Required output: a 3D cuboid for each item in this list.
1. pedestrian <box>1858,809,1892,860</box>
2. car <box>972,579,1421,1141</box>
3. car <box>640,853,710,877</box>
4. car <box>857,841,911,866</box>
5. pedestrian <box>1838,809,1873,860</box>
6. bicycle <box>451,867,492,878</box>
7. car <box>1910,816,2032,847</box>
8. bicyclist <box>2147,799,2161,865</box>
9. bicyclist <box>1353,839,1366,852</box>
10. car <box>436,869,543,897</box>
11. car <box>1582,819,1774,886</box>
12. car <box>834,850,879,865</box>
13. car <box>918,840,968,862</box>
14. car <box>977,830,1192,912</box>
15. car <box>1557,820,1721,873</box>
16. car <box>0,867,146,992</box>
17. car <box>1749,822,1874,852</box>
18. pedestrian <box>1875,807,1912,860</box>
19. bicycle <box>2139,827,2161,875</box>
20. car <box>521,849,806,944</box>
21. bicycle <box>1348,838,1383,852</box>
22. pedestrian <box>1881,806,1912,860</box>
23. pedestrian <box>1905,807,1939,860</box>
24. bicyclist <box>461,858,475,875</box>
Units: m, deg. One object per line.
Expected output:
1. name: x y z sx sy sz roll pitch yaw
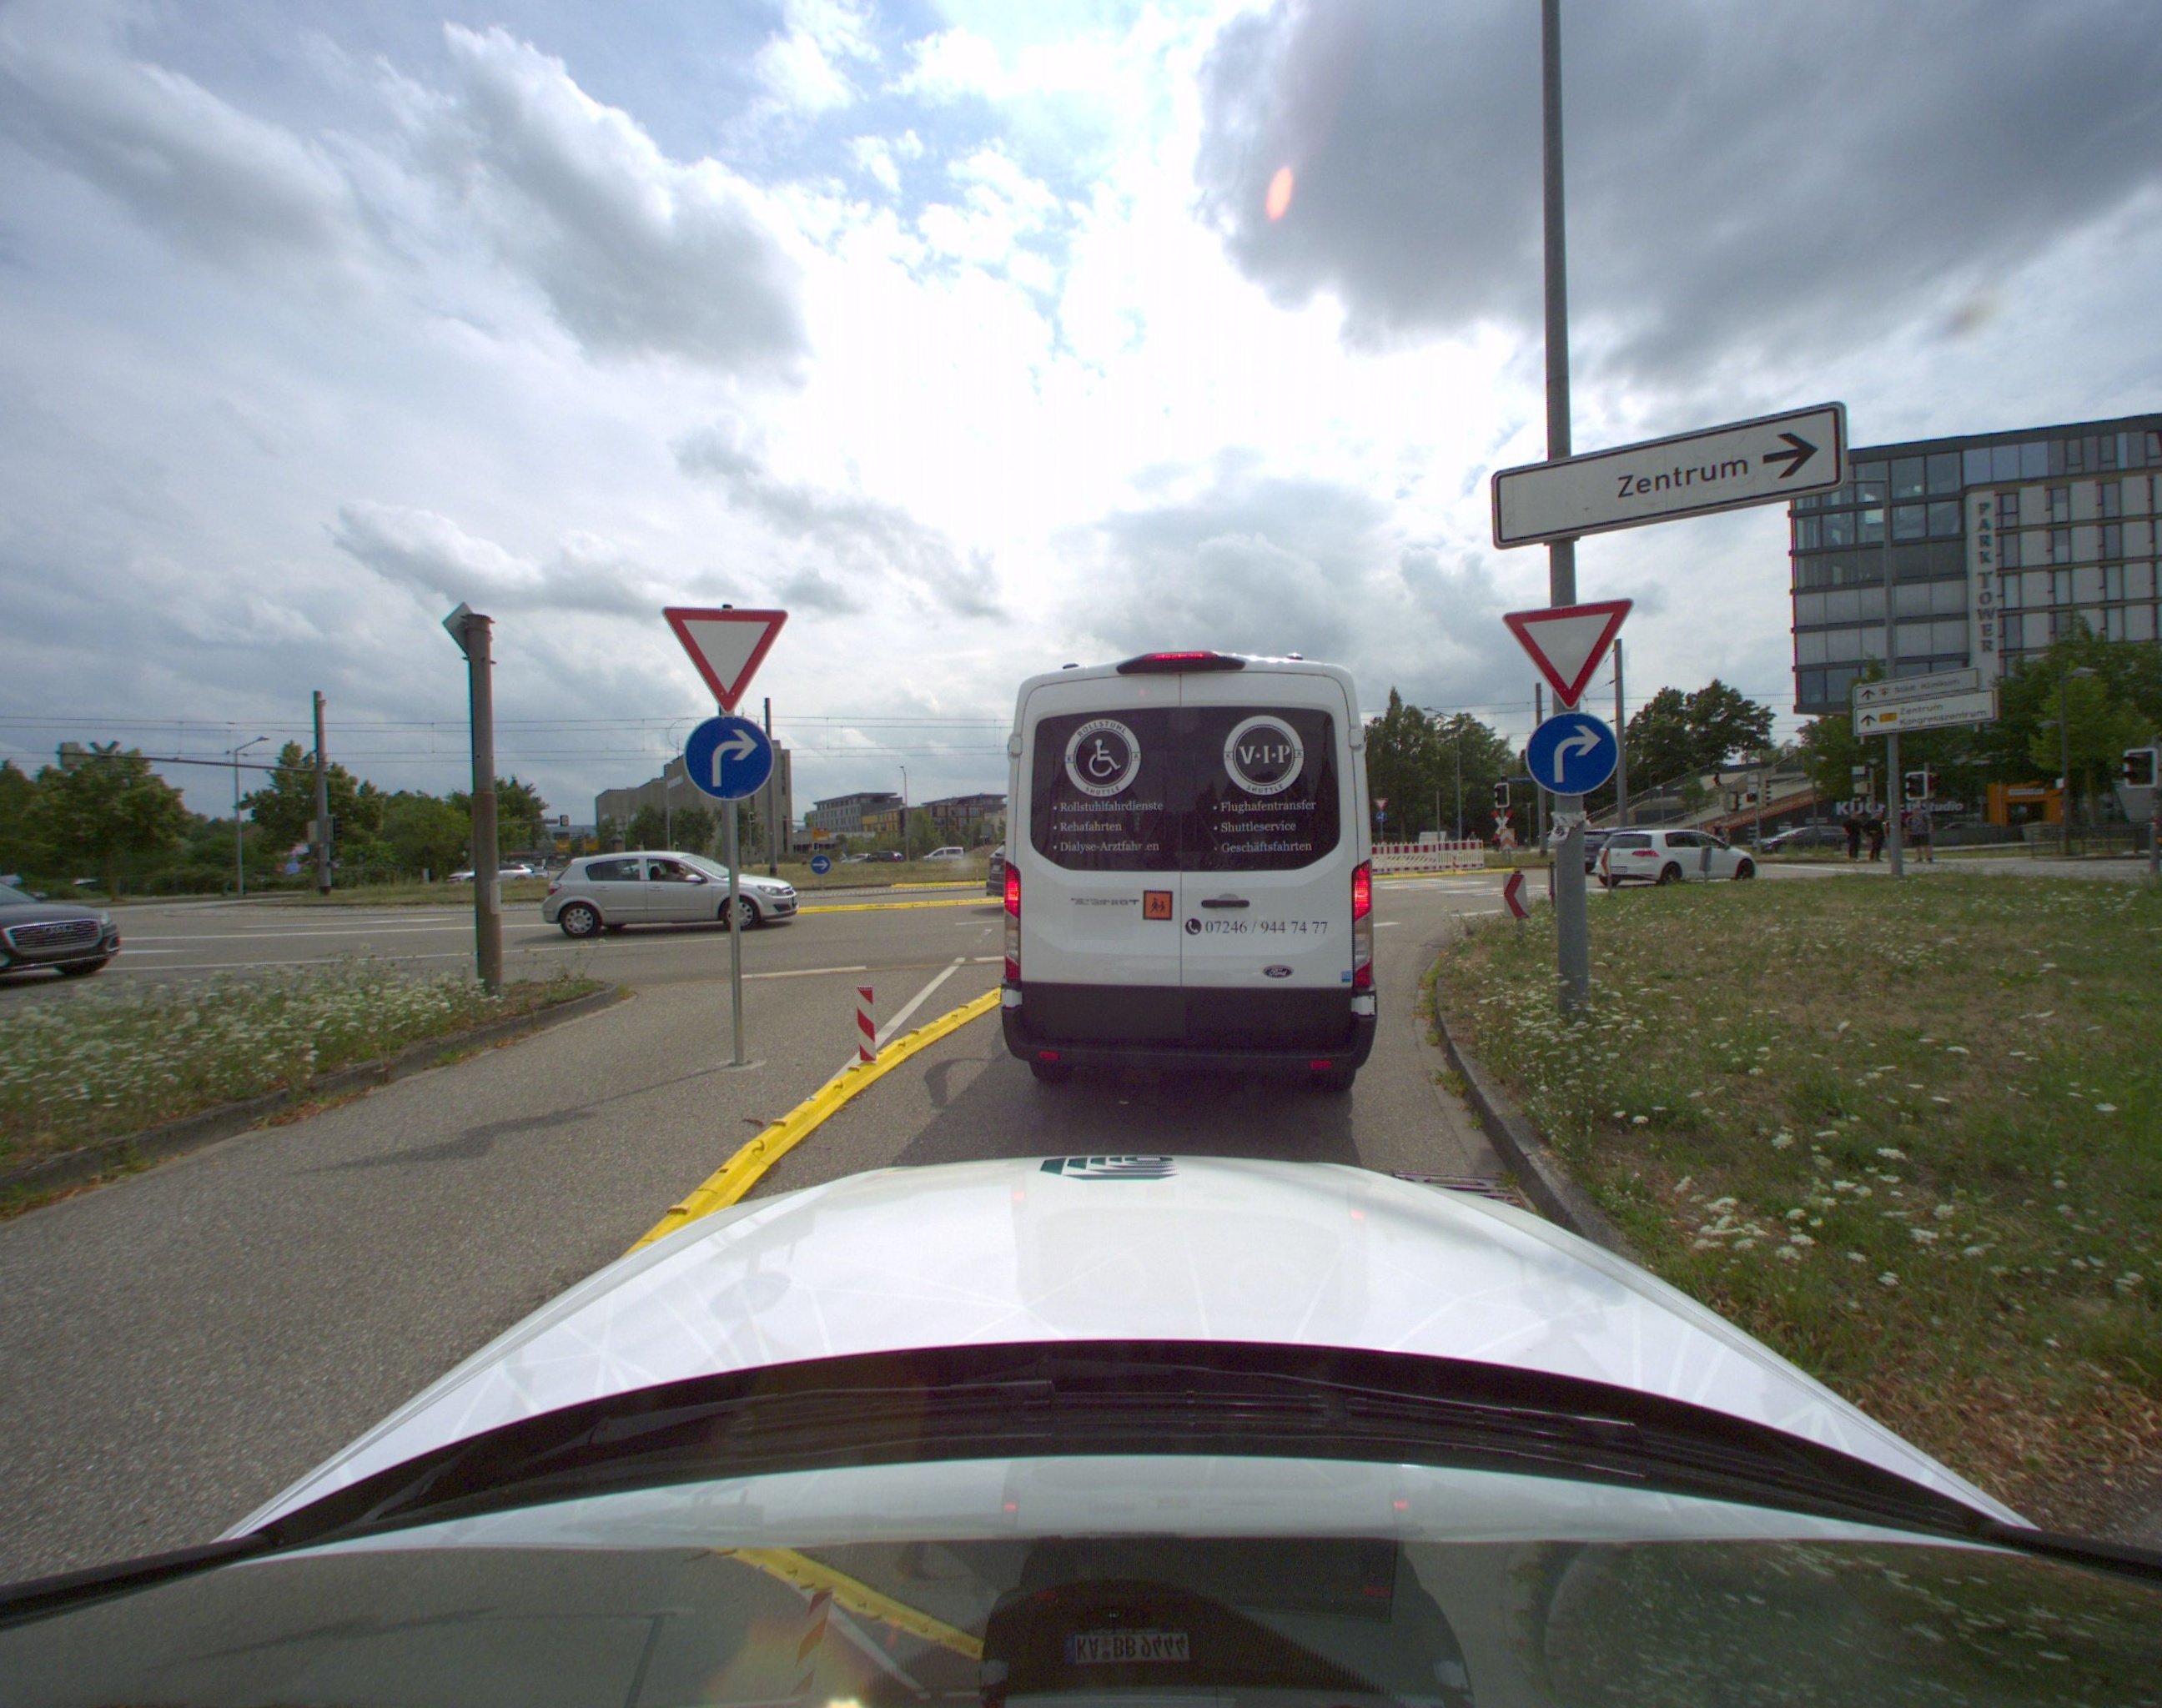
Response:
1. pedestrian: 28.041 -0.676 28.762 0.628 1.781 0.554 -1 1 6
2. car: 0.891 0.033 6.820 2.115 2.697 5.643 -2 0 7
3. car: -30.823 0.800 61.867 1.914 1.665 4.381 -1 1 45
4. car: -16.791 0.005 69.461 3.957 2.014 2.008 -1 -1 16
5. pedestrian: 27.345 -0.694 28.757 0.684 1.781 0.554 -1 1 6
6. bicycle: -52.072 1.588 69.593 0.853 0.855 2.676 -2 1 36
7. car: 46.563 -1.150 42.702 3.958 1.458 1.856 -1 1 14
8. bicyclist: 26.874 -0.553 19.884 0.781 1.627 1.056 -2 0 40
9. bicyclist: 19.516 -0.600 57.105 0.650 0.884 0.611 -2 -1 39
10. car: -38.141 1.838 52.641 1.974 1.482 5.217 -2 1 32
11. car: 15.173 -0.074 20.717 4.258 1.497 1.791 -2 1 -18
12. car: -22.378 0.339 81.148 3.951 1.463 1.843 -1 -1 23
13. car: -13.136 -0.320 77.607 4.362 2.014 1.986 -1 -1 -20
14. car: 0.116 0.311 17.823 4.382 1.534 1.717 -2 1 -28
15. car: 17.576 -0.249 25.748 4.098 1.497 1.798 -2 1 -7
16. car: -15.526 1.027 10.912 4.114 1.519 1.743 -2 1 4
17. car: 39.138 -0.924 43.747 4.689 1.458 1.856 -1 1 13
18. pedestrian: 28.032 -0.694 28.095 0.684 1.781 0.554 -1 1 6
19. bicycle: 27.020 -0.084 20.041 0.781 1.168 2.054 -2 0 41
20. car: -7.465 0.702 15.006 4.247 1.462 1.824 -2 1 -10
21. bicycle: 19.835 -0.633 56.851 2.176 0.938 0.618 -2 -1 39
22. pedestrian: 28.664 -0.725 28.625 0.527 1.862 0.554 -1 1 6
23. pedestrian: 28.788 -0.701 27.884 0.575 1.781 0.554 -1 1 6
24. bicyclist: -52.236 1.063 69.393 0.853 1.409 0.678 -2 0 36
